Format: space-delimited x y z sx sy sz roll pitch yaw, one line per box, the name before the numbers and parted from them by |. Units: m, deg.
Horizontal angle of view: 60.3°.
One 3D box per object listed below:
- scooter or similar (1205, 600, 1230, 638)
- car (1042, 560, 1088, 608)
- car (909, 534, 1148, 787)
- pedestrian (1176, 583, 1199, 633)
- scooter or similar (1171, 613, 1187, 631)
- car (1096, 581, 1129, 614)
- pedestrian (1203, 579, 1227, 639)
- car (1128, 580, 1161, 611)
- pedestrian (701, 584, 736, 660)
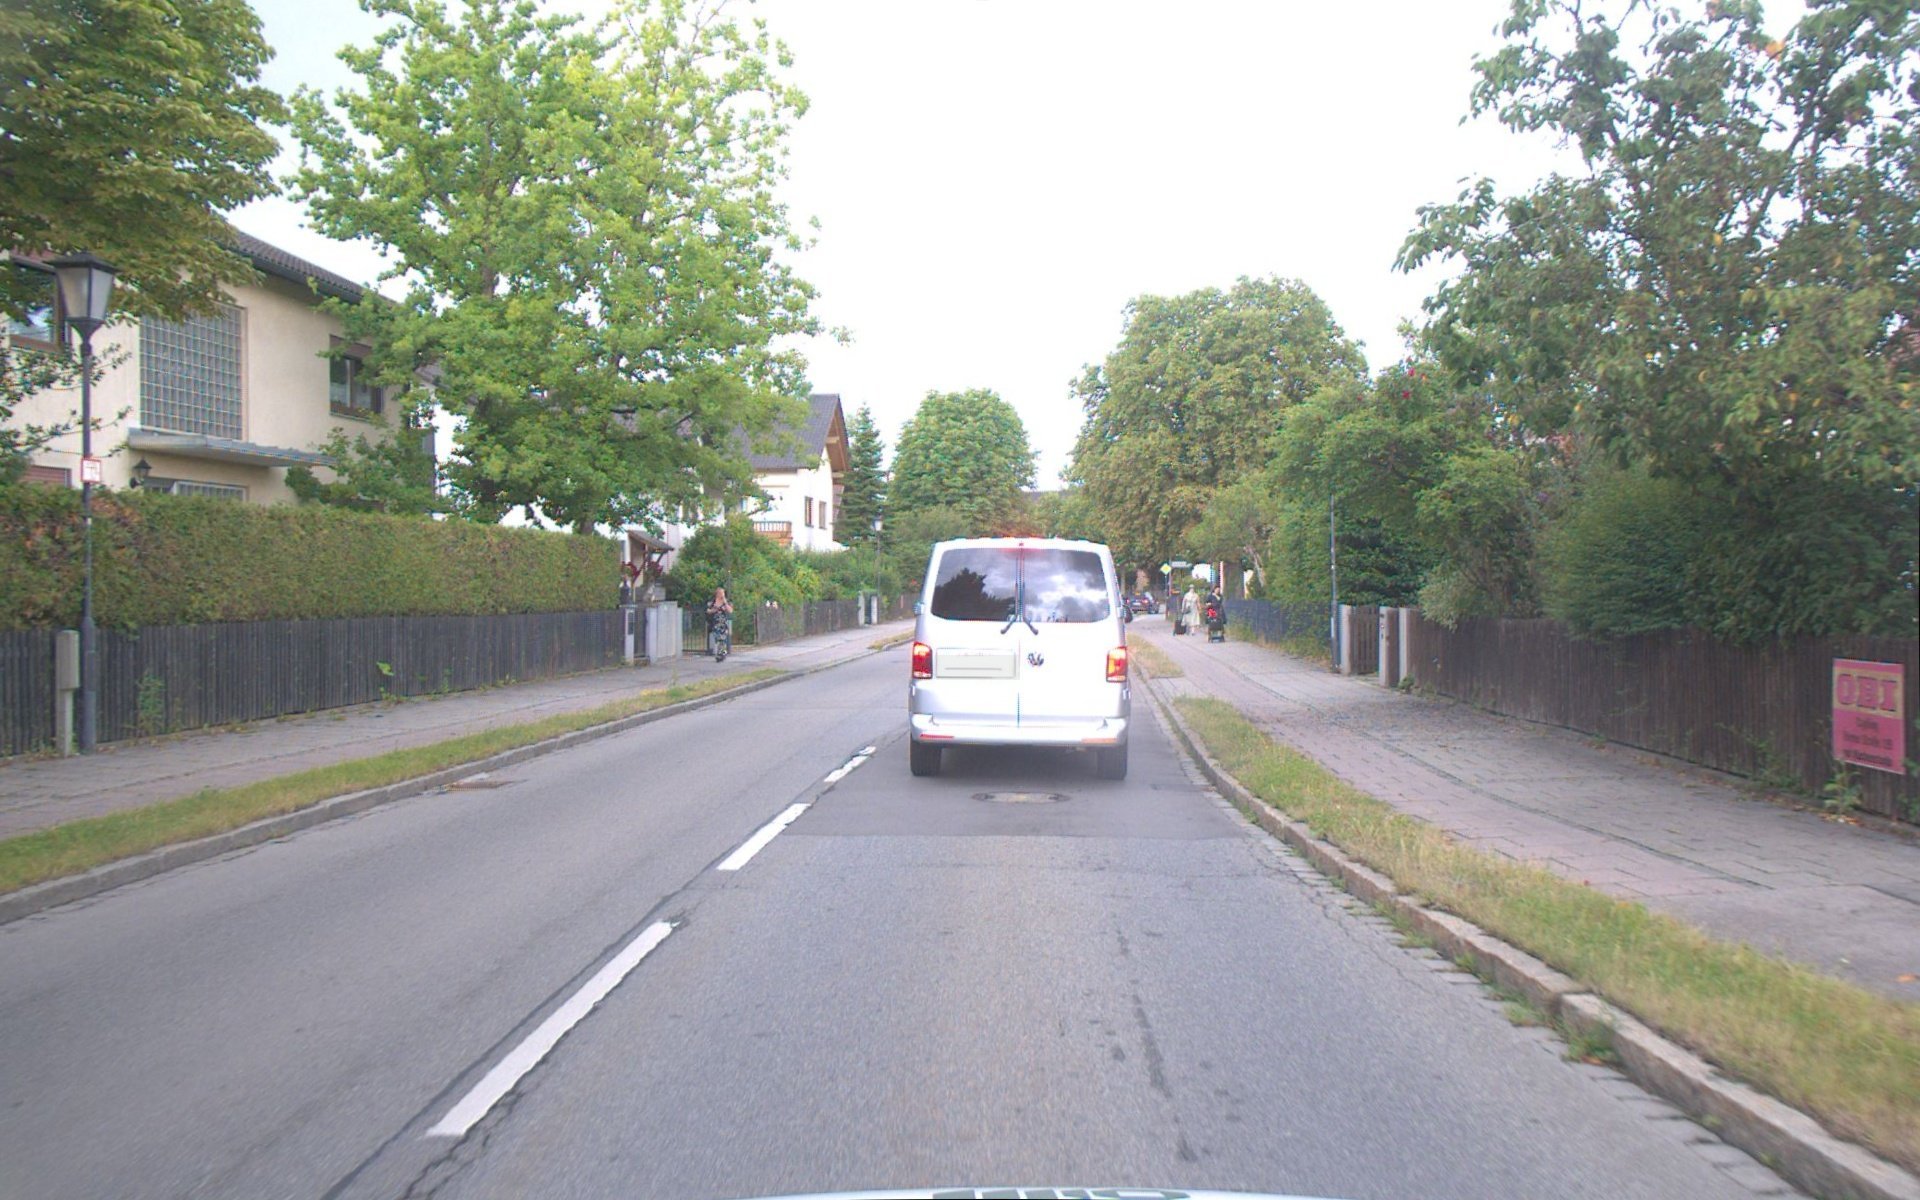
scooter or similar | 6.854 0.510 44.064 0.540 0.988 0.620 1 0 0
car | 4.754 -0.695 74.377 1.951 2.049 4.002 1 0 5
car | 0.650 0.465 14.908 1.848 1.945 4.002 1 0 3
pedestrian | 7.262 0.249 52.808 0.609 1.550 0.579 1 0 0
scooter or similar | 7.072 0.714 53.392 0.464 0.554 0.459 1 0 0
car | 9.587 -0.161 104.000 1.951 2.049 4.003 -1 0 7
pedestrian | 6.898 0.242 44.748 0.540 1.576 0.612 1 0 0
car | 12.764 -0.299 114.034 1.951 2.049 4.004 -1 0 10
pedestrian | -5.097 0.462 34.894 0.609 1.576 0.522 1 0 0
